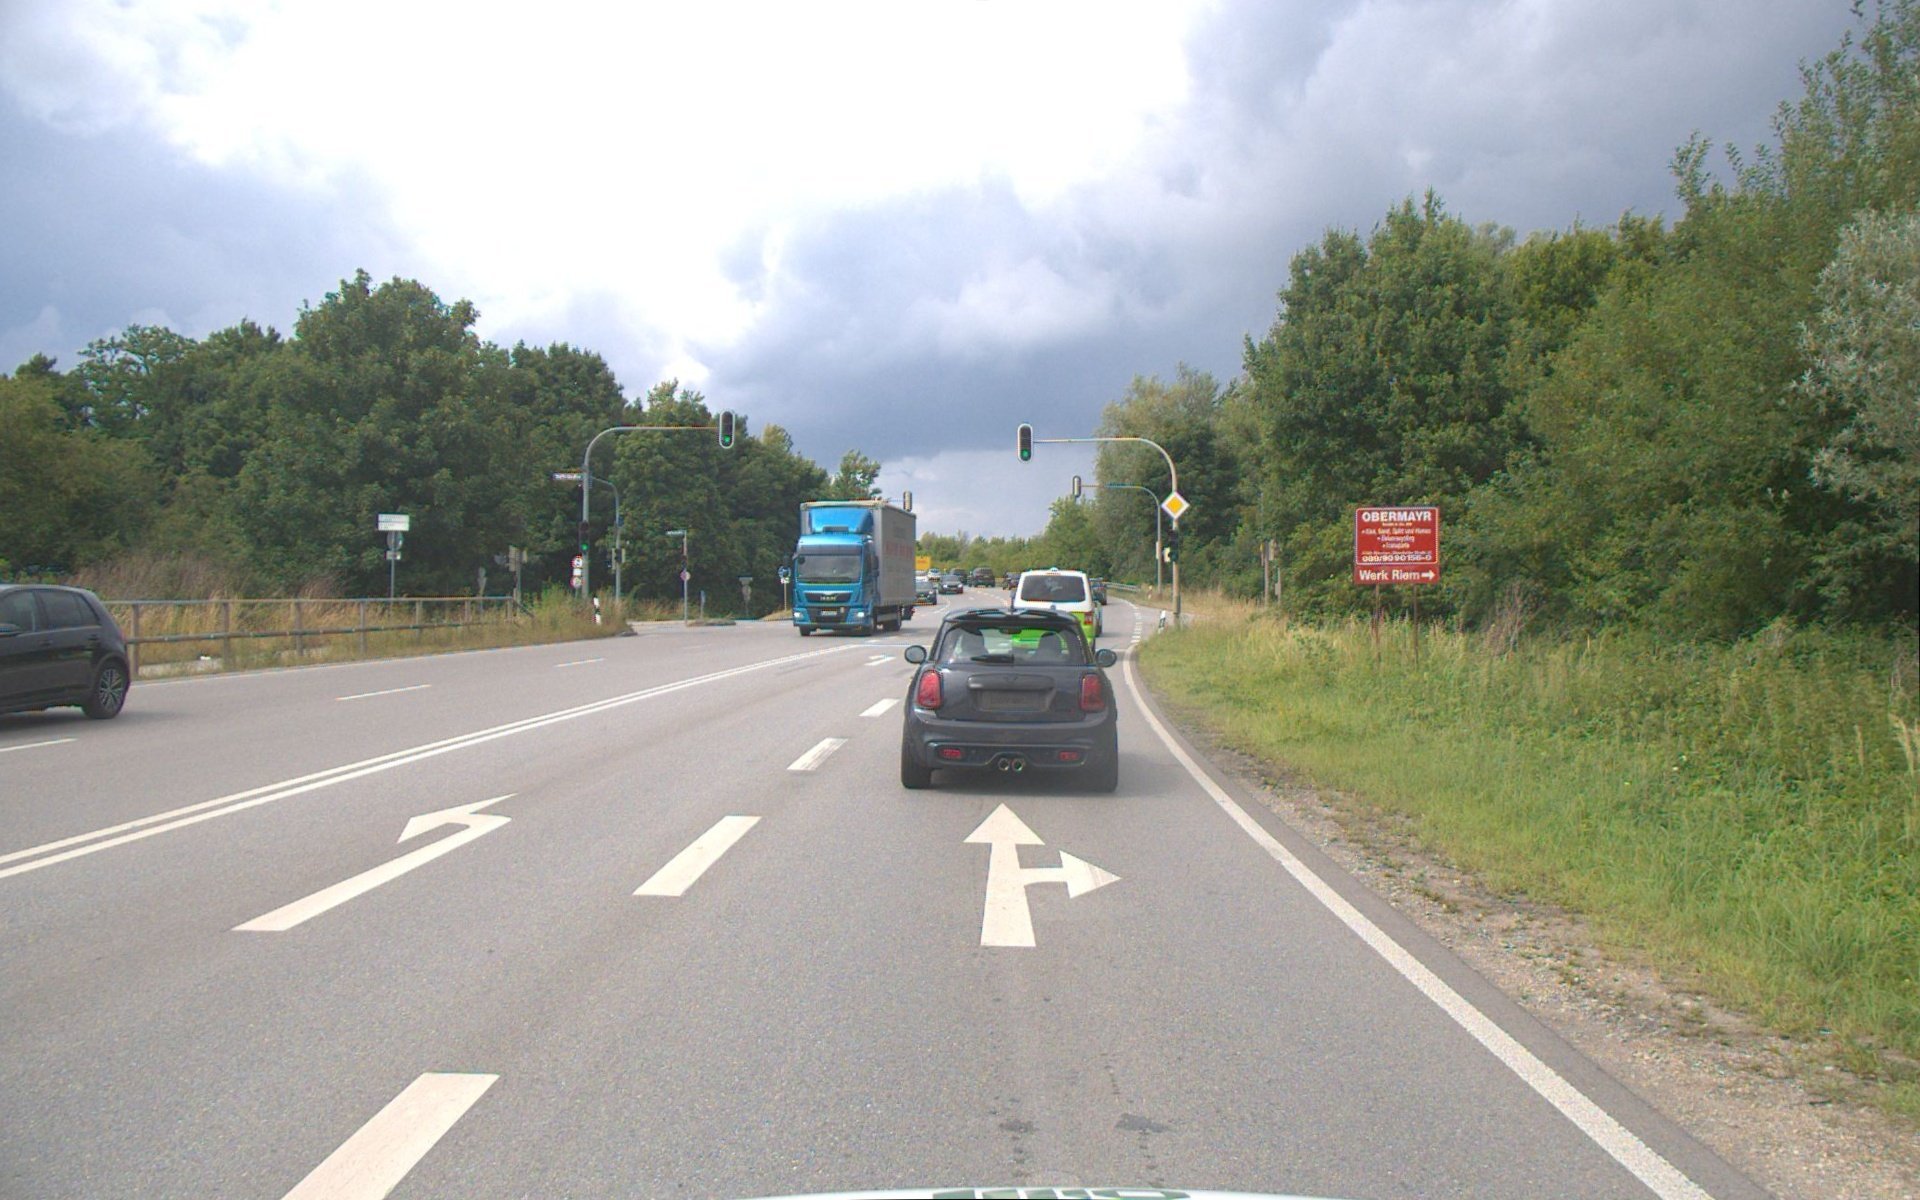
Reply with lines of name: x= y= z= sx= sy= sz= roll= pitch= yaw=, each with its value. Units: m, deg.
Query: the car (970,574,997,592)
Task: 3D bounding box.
car: x=2.266 y=-1.636 z=159.756 sx=1.956 sy=1.725 sz=4.477 roll=0 pitch=0 yaw=-9

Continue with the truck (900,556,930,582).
truck: x=-5.789 y=-3.922 z=210.339 sx=2.666 sy=2.949 sz=8.752 roll=1 pitch=-1 yaw=-9

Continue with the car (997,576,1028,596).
car: x=4.609 y=-1.219 z=145.008 sx=1.956 sy=1.725 sz=4.477 roll=0 pitch=0 yaw=-9

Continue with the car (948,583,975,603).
car: x=0.136 y=-0.590 z=136.987 sx=1.750 sy=1.556 sz=4.907 roll=-2 pitch=0 yaw=5

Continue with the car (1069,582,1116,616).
car: x=7.162 y=-0.033 z=88.991 sx=1.951 sy=1.713 sz=4.003 roll=1 pitch=-1 yaw=12

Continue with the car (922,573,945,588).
car: x=-3.165 y=-2.289 z=194.830 sx=1.958 sy=1.818 sz=4.474 roll=0 pitch=0 yaw=-10

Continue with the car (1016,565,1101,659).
car: x=2.254 y=0.249 z=37.782 sx=1.806 sy=2.021 sz=3.843 roll=1 pitch=0 yaw=3

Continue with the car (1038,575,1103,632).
car: x=3.421 y=0.117 z=51.560 sx=1.952 sy=1.713 sz=4.001 roll=0 pitch=0 yaw=3

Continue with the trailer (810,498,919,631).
trailer: x=-3.093 y=-1.126 z=55.351 sx=2.473 sy=4.172 sz=6.740 roll=0 pitch=0 yaw=7

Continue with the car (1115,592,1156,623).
car: x=10.782 y=0.469 z=101.206 sx=1.951 sy=1.713 sz=3.980 roll=1 pitch=-1 yaw=13

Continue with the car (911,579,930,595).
car: x=-3.871 y=-1.251 z=161.113 sx=1.694 sy=1.531 sz=4.347 roll=-1 pitch=1 yaw=0

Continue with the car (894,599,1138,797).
car: x=0.462 y=0.735 z=14.321 sx=1.807 sy=1.453 sz=3.841 roll=1 pitch=0 yaw=1

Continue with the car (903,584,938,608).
car: x=-2.591 y=-0.273 z=109.063 sx=1.753 sy=1.601 sz=4.003 roll=0 pitch=0 yaw=6

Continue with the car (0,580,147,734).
car: x=-10.076 y=0.538 z=16.430 sx=1.905 sy=1.466 sz=4.001 roll=0 pitch=0 yaw=2

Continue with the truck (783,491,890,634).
truck: x=-3.713 y=-1.114 z=50.358 sx=2.486 sy=4.168 sz=4.003 roll=0 pitch=0 yaw=7

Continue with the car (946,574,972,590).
car: x=-0.138 y=-1.895 z=176.006 sx=1.958 sy=1.725 sz=4.474 roll=0 pitch=0 yaw=-10
